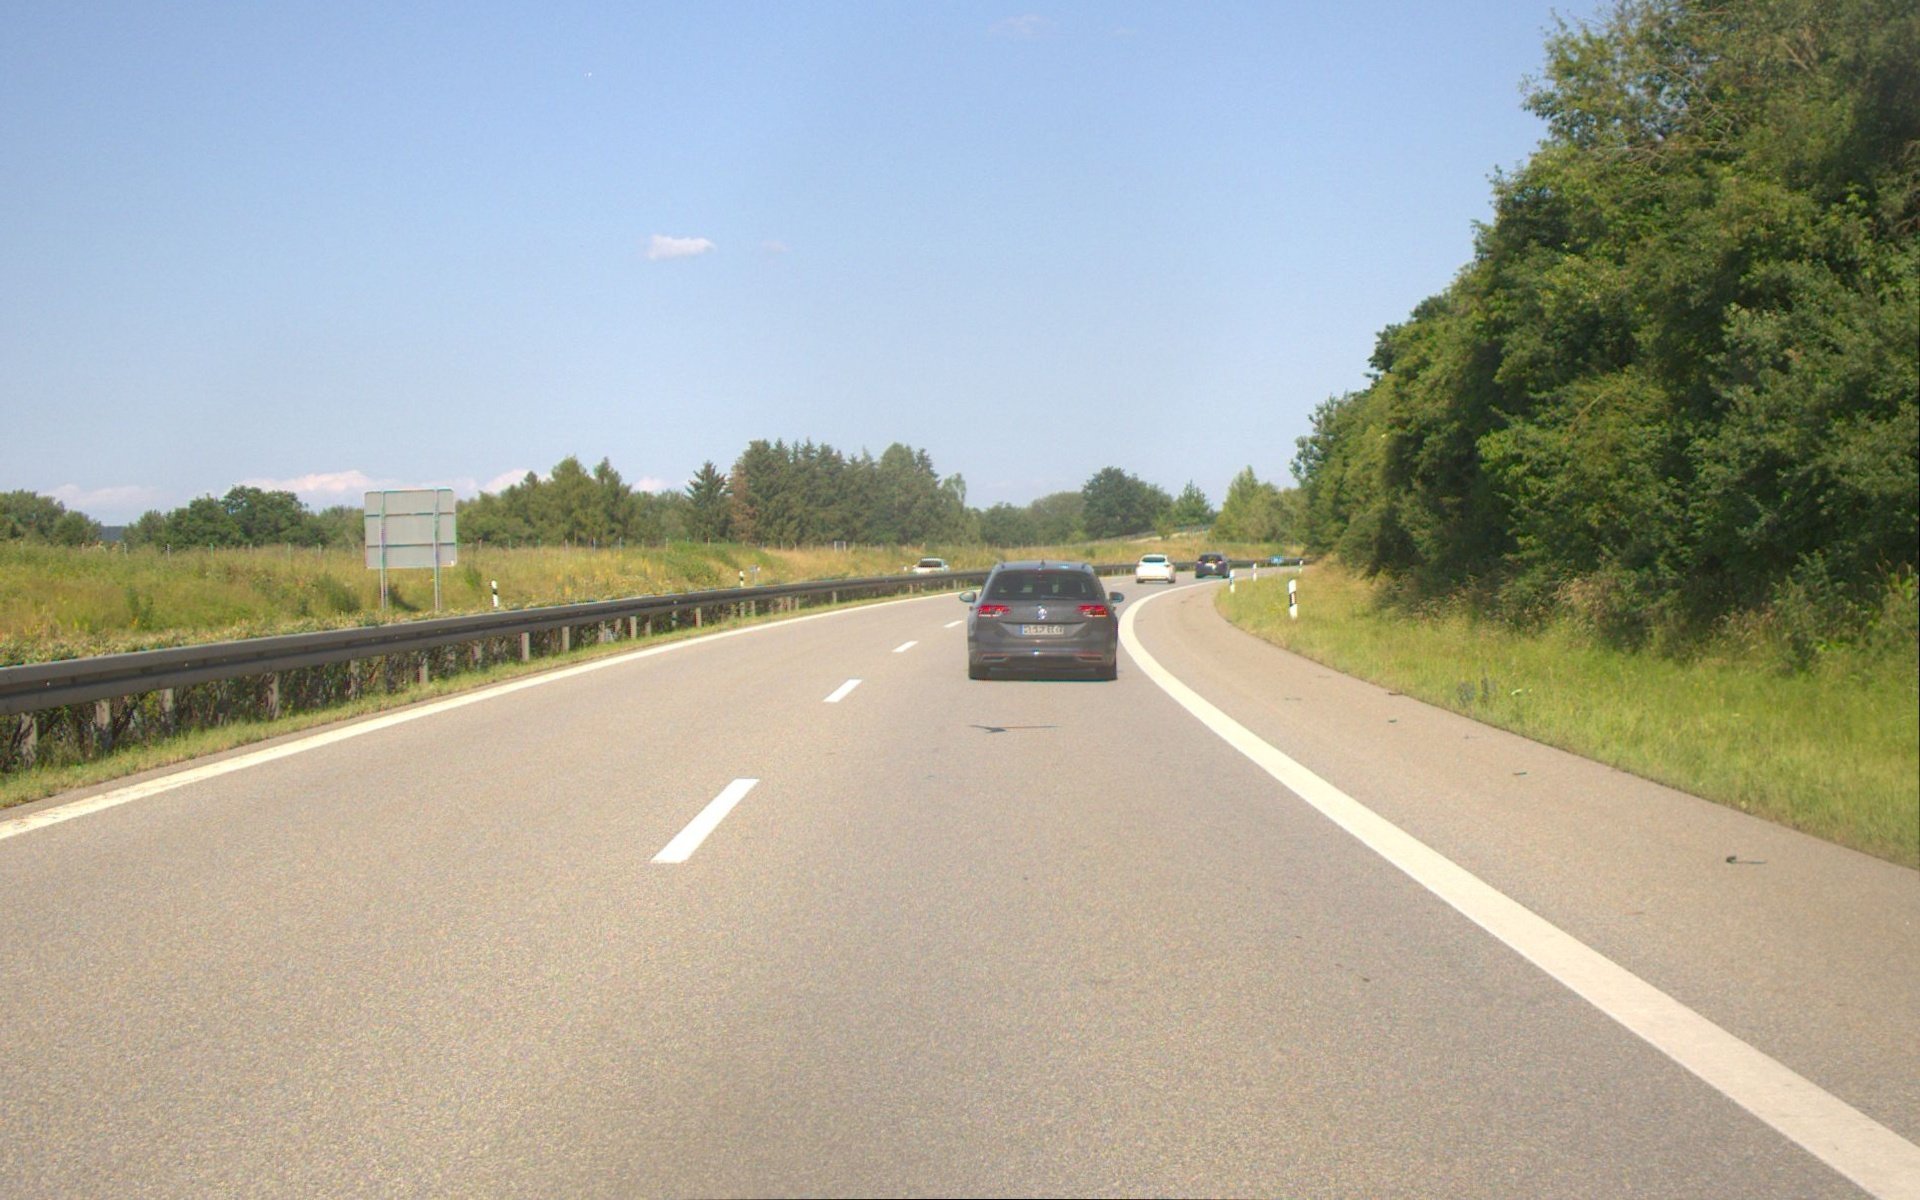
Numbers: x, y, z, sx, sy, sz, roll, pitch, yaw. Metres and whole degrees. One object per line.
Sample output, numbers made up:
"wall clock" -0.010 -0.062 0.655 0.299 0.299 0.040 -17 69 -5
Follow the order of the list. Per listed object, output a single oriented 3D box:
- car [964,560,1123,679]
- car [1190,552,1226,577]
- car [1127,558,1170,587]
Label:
"car" 0.965 0.207 41.766 1.791 1.340 4.000 1 0 0
"car" 14.539 -2.060 201.530 1.711 1.382 3.354 2 0 10
"car" 9.257 -1.338 169.354 2.007 1.340 4.000 2 0 2
